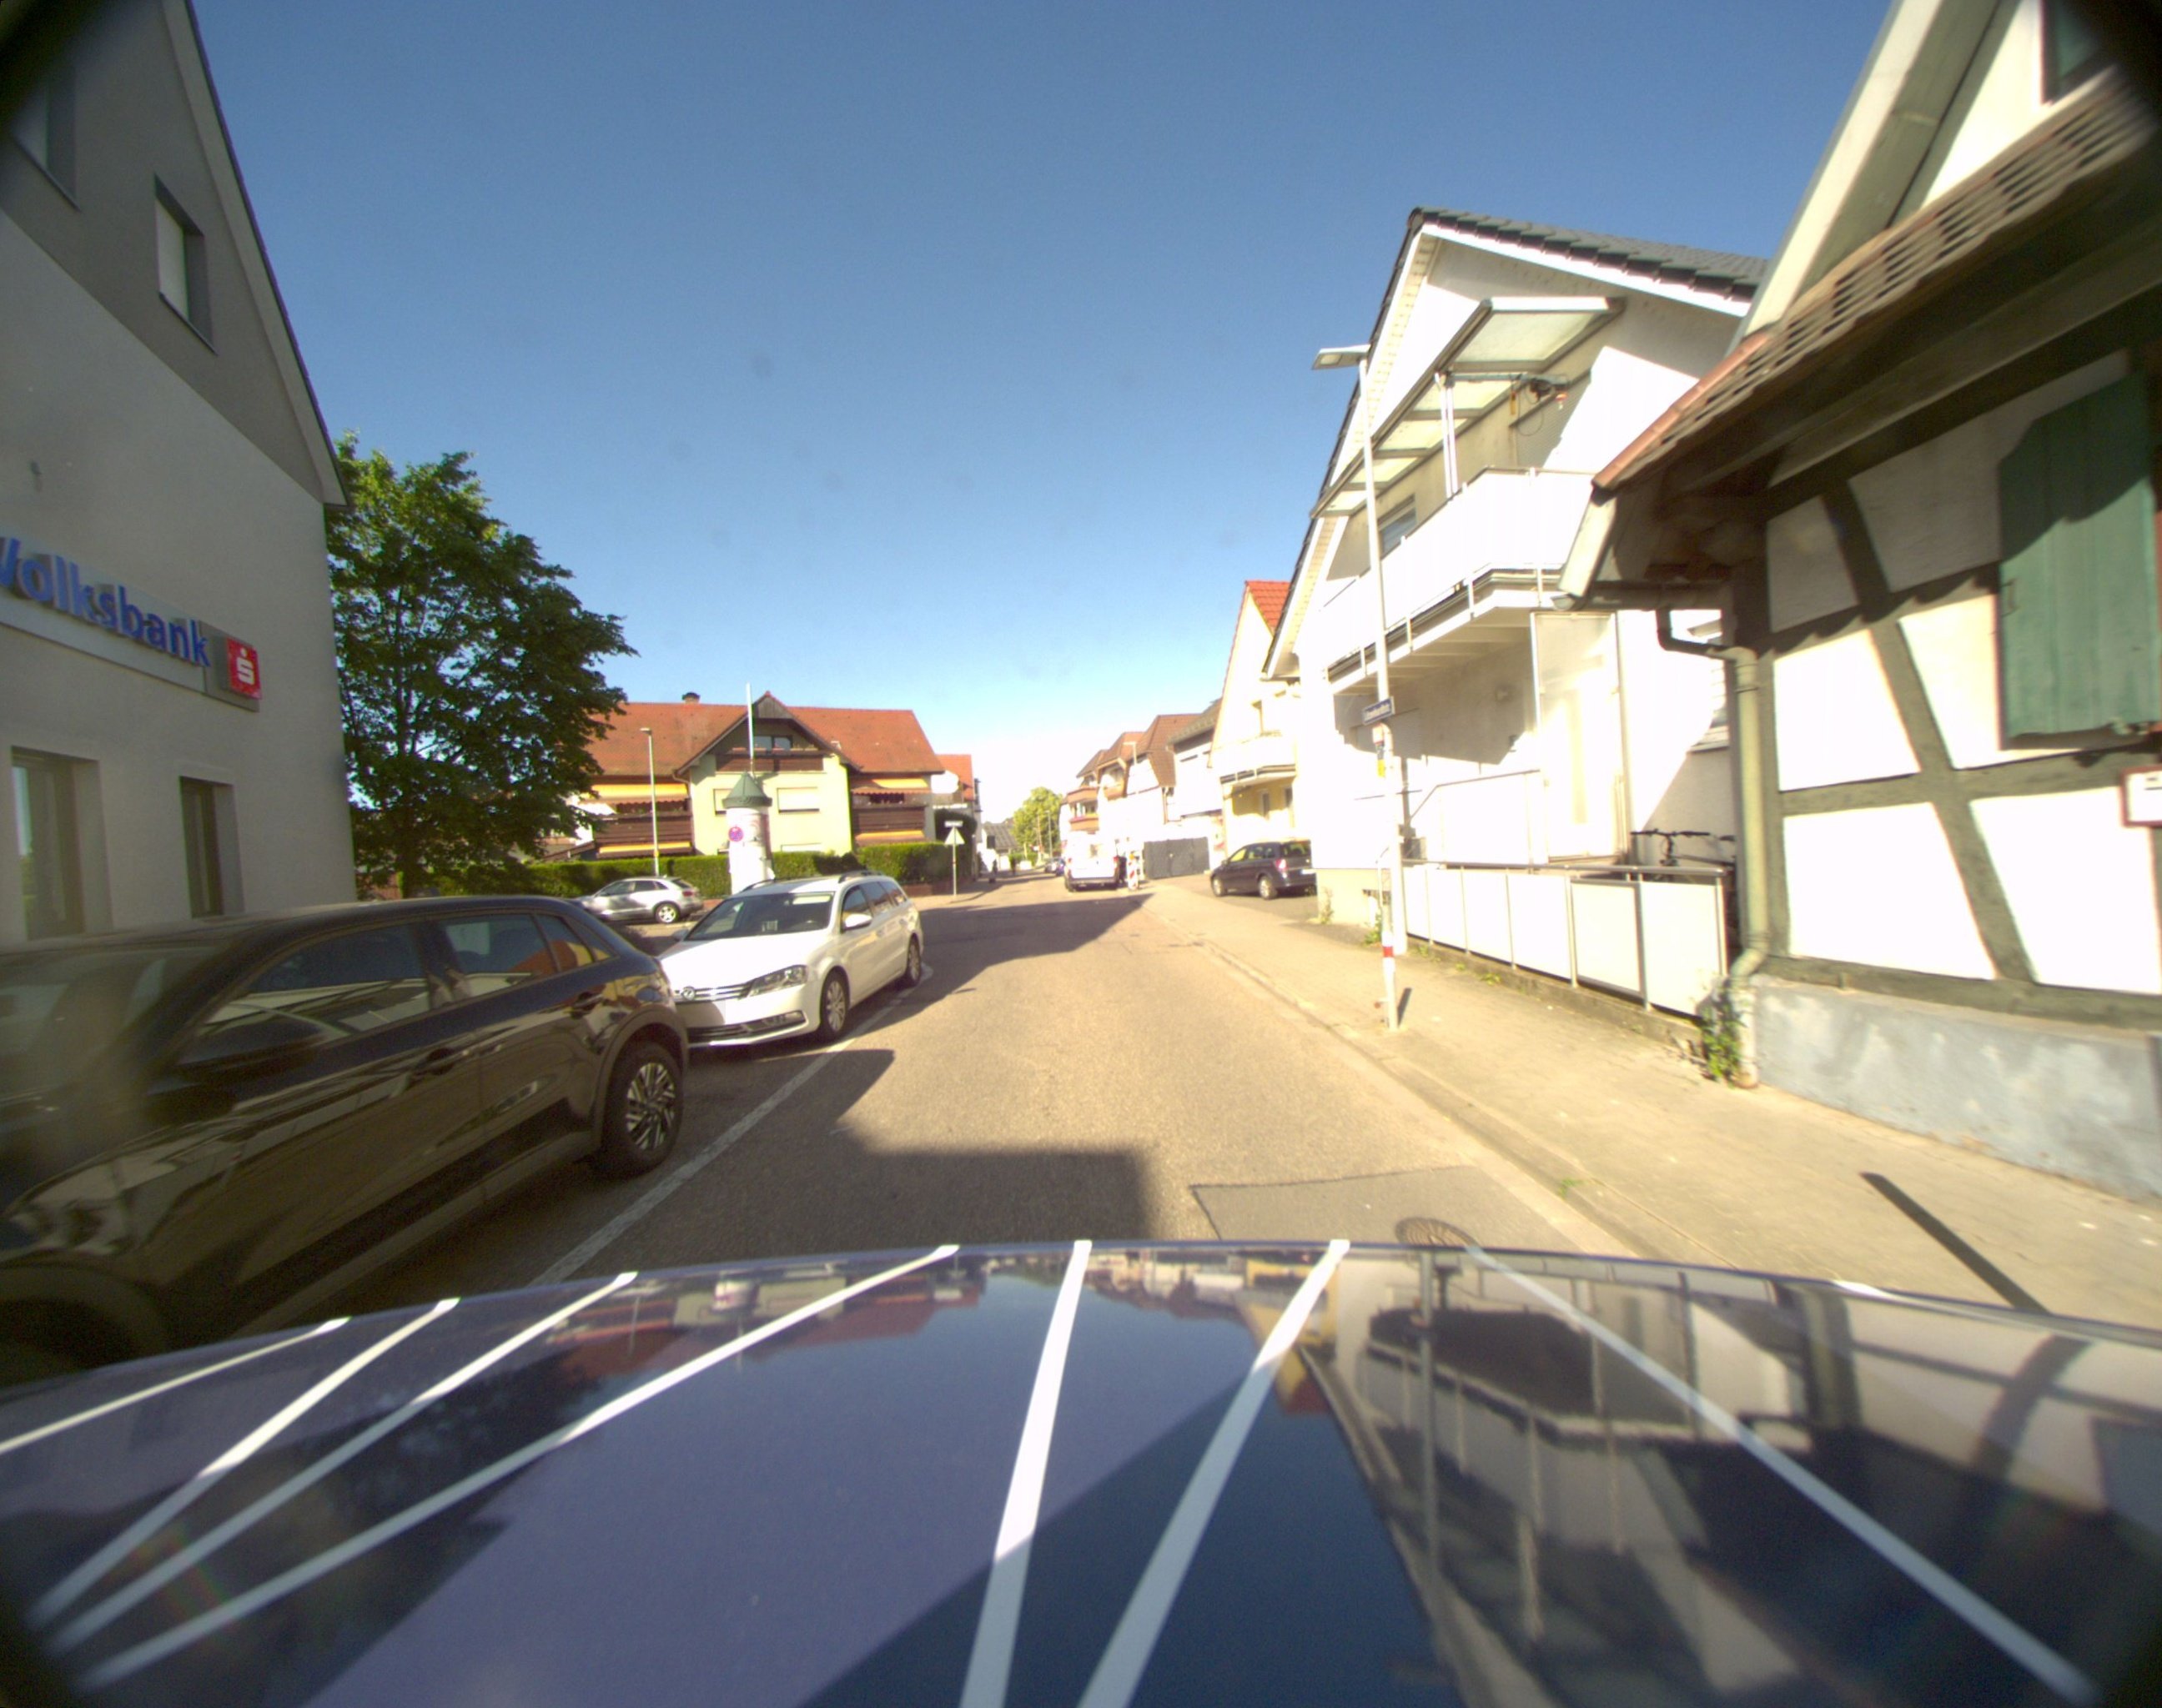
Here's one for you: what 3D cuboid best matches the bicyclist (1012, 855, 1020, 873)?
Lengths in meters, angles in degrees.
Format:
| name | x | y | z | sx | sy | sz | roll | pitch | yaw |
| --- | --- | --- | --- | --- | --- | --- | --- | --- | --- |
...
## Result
| name | x | y | z | sx | sy | sz | roll | pitch | yaw |
| --- | --- | --- | --- | --- | --- | --- | --- | --- | --- |
| bicyclist | -6.139 | 0.958 | 71.837 | 0.643 | 1.655 | 0.605 | -3 | 1 | -1 |

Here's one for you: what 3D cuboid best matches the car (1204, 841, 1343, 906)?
| name | x | y | z | sx | sy | sz | roll | pitch | yaw |
| --- | --- | --- | --- | --- | --- | --- | --- | --- | --- |
| car | 5.034 | 0.492 | 20.515 | 1.694 | 1.437 | 4.171 | -5 | 1 | -16 |

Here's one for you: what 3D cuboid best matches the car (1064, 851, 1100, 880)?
| name | x | y | z | sx | sy | sz | roll | pitch | yaw |
| --- | --- | --- | --- | --- | --- | --- | --- | --- | --- |
| car | 0.010 | 0.673 | 45.891 | 1.727 | 1.609 | 4.110 | -3 | 0 | -5 |

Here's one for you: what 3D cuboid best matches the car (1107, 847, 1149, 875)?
| name | x | y | z | sx | sy | sz | roll | pitch | yaw |
| --- | --- | --- | --- | --- | --- | --- | --- | --- | --- |
| car | 2.873 | 0.441 | 47.488 | 1.647 | 1.578 | 4.109 | -4 | 0 | -9 |

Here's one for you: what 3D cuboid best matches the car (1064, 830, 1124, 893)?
| name | x | y | z | sx | sy | sz | roll | pitch | yaw |
| --- | --- | --- | --- | --- | --- | --- | --- | --- | --- |
| car | 0.476 | 0.284 | 33.925 | 2.258 | 2.456 | 5.515 | -3 | 0 | -2 |

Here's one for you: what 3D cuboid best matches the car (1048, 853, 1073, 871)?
| name | x | y | z | sx | sy | sz | roll | pitch | yaw |
| --- | --- | --- | --- | --- | --- | --- | --- | --- | --- |
| car | -1.895 | 0.703 | 69.557 | 1.764 | 1.547 | 3.997 | -3 | 0 | -8 |

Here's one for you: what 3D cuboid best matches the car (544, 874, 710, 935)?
| name | x | y | z | sx | sy | sz | roll | pitch | yaw |
| --- | --- | --- | --- | --- | --- | --- | --- | --- | --- |
| car | -14.922 | 1.637 | 25.257 | 4.306 | 1.584 | 1.812 | -3 | 2 | -14 |

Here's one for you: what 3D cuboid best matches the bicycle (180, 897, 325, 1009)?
| name | x | y | z | sx | sy | sz | roll | pitch | yaw |
| --- | --- | --- | --- | --- | --- | --- | --- | --- | --- |
| bicycle | -7.743 | 0.923 | 7.103 | 1.224 | 0.970 | 0.320 | -3 | 1 | 14 |

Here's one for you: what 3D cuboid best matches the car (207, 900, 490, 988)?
| name | x | y | z | sx | sy | sz | roll | pitch | yaw |
| --- | --- | --- | --- | --- | --- | --- | --- | --- | --- |
| car | -16.485 | 1.986 | 17.345 | 4.304 | 1.485 | 1.813 | -3 | 0 | -10 |

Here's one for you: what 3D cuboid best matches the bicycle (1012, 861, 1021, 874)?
| name | x | y | z | sx | sy | sz | roll | pitch | yaw |
| --- | --- | --- | --- | --- | --- | --- | --- | --- | --- |
| bicycle | -6.137 | 1.236 | 71.962 | 0.639 | 1.175 | 2.021 | -3 | 0 | -1 |

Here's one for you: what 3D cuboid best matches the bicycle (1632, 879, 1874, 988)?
| name | x | y | z | sx | sy | sz | roll | pitch | yaw |
| --- | --- | --- | --- | --- | --- | --- | --- | --- | --- |
| bicycle | 5.479 | 0.605 | 6.321 | 0.490 | 0.713 | 1.501 | -5 | 1 | -10 |

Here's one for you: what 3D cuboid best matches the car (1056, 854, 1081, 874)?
| name | x | y | z | sx | sy | sz | roll | pitch | yaw |
| --- | --- | --- | --- | --- | --- | --- | --- | --- | --- |
| car | -1.009 | 0.763 | 60.872 | 1.623 | 1.431 | 3.954 | -4 | 0 | -6 |

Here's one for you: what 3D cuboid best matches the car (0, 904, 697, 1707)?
| name | x | y | z | sx | sy | sz | roll | pitch | yaw |
| --- | --- | --- | --- | --- | --- | --- | --- | --- | --- |
| car | -3.098 | 1.123 | 2.335 | 1.614 | 1.512 | 3.971 | -5 | 0 | 1 |

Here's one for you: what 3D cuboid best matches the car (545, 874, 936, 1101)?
| name | x | y | z | sx | sy | sz | roll | pitch | yaw |
| --- | --- | --- | --- | --- | --- | --- | --- | --- | --- |
| car | -3.059 | 1.094 | 8.095 | 1.850 | 1.505 | 4.507 | -4 | 0 | 3 |
